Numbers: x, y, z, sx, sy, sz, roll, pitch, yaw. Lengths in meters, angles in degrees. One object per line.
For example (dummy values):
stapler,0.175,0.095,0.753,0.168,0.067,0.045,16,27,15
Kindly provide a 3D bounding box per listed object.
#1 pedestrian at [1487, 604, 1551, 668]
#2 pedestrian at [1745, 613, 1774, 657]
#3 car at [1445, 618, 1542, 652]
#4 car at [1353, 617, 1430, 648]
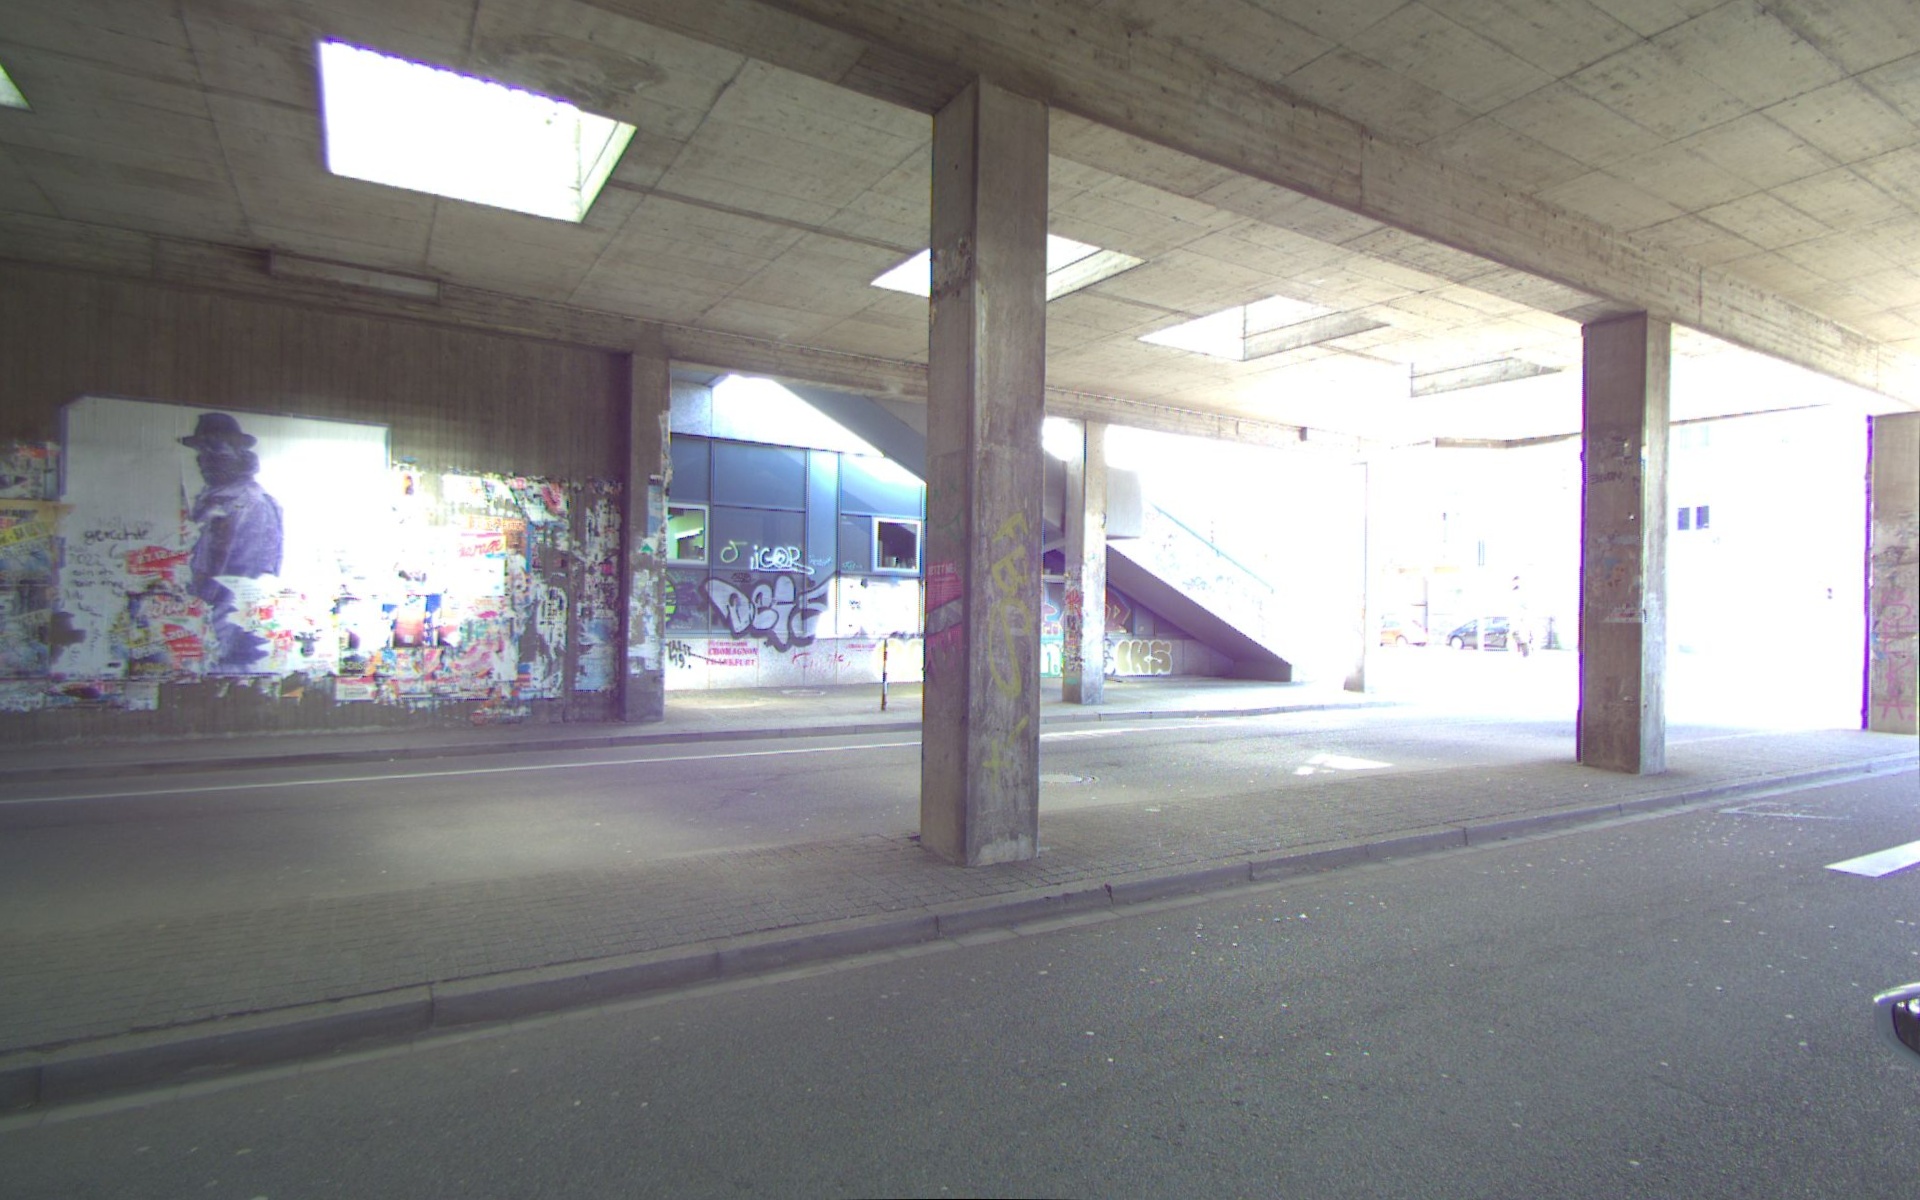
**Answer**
pedestrian,15.717,1.006,28.259,1.123,1.760,1.111,1,-1,-17
pedestrian,31.932,1.395,40.127,0.618,1.727,0.716,2,0,-33
car,25.373,1.645,47.846,1.732,1.528,3.735,1,-1,-31
car,22.486,1.692,52.493,1.543,1.526,3.518,1,-1,-29
